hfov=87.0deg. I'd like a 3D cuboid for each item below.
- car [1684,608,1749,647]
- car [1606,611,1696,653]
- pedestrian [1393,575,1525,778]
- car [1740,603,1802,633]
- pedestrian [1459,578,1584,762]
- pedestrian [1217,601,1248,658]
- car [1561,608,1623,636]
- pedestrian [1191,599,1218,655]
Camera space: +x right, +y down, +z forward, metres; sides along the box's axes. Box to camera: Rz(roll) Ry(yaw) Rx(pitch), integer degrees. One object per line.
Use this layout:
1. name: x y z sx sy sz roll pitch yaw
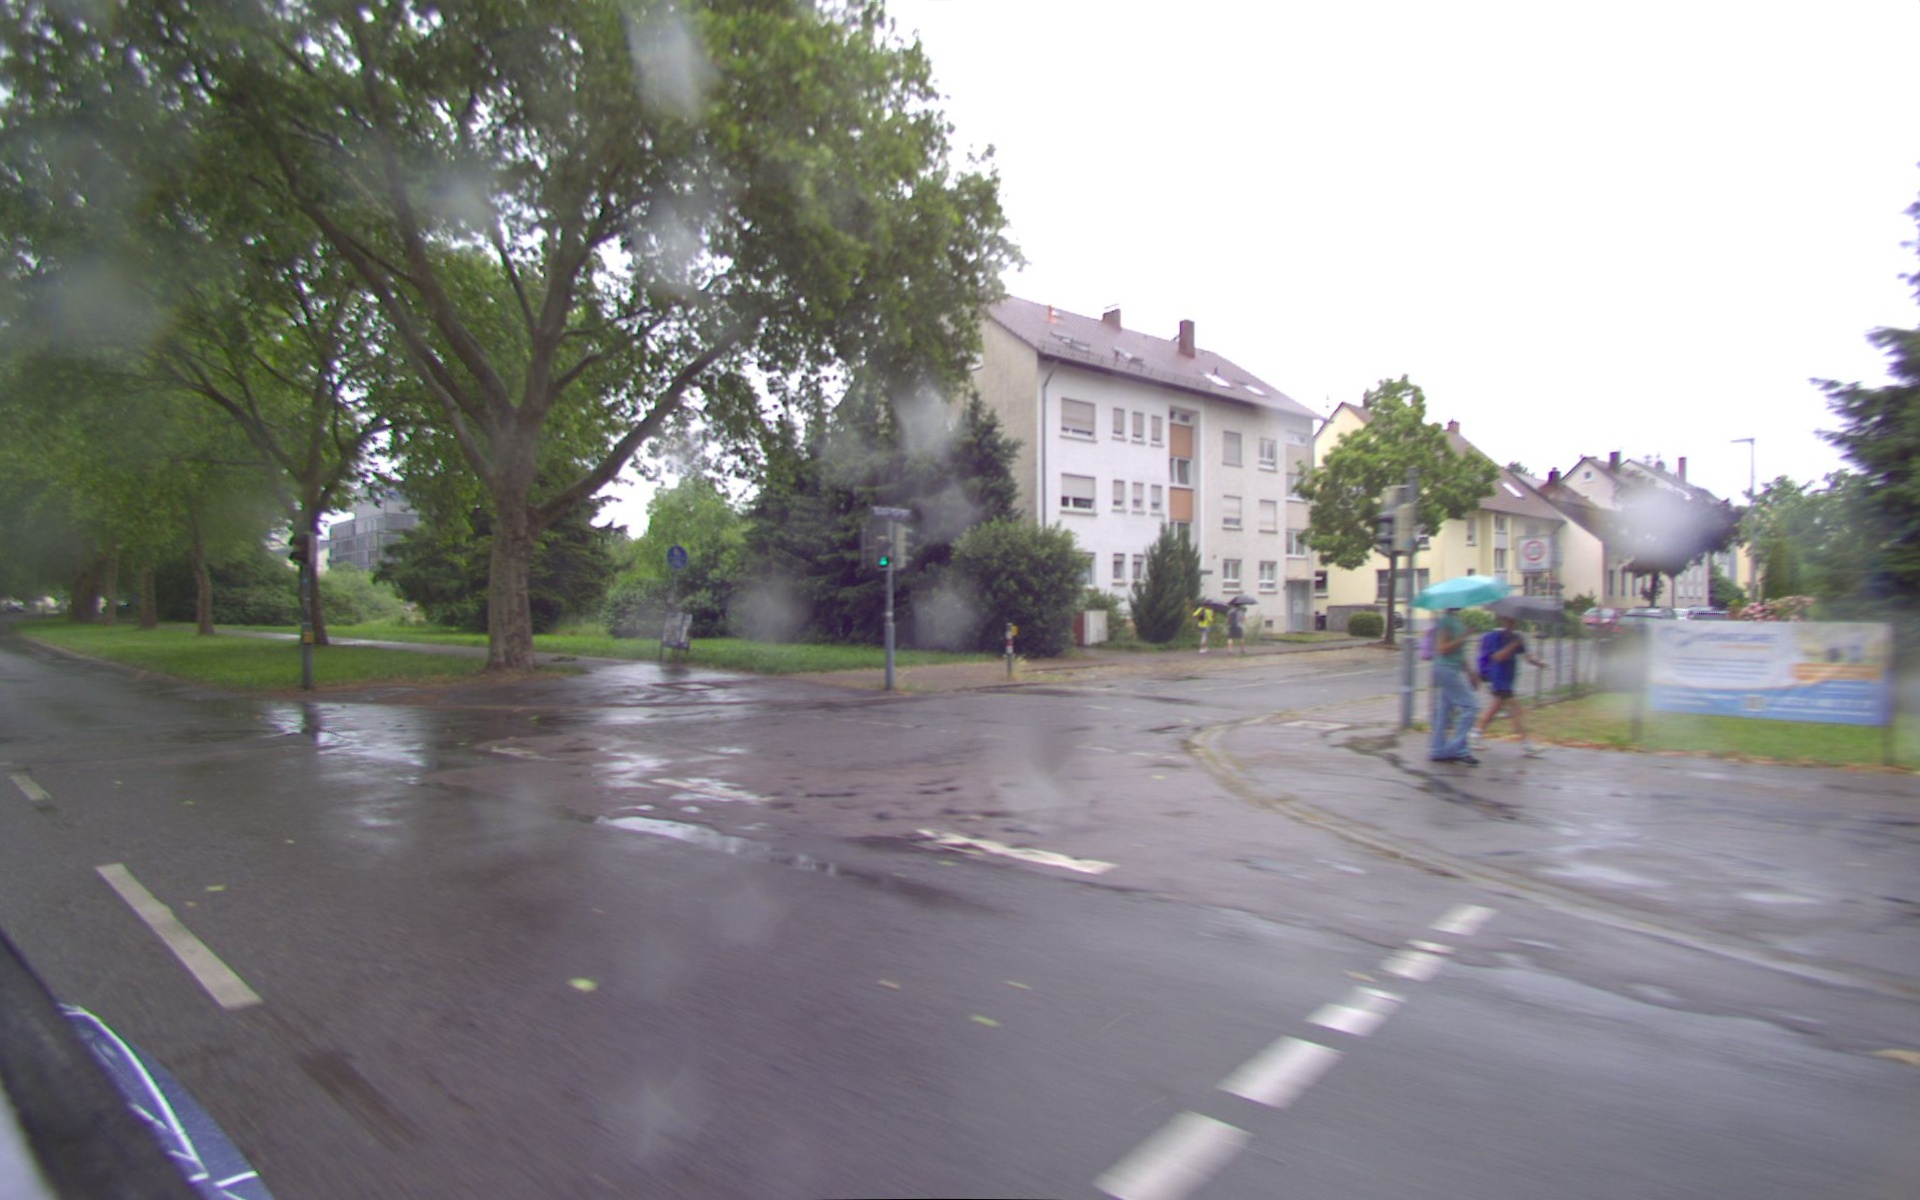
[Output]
1. car: 31.325 1.122 41.901 3.399 1.527 1.537 0 -1 -43
2. car: 24.371 1.094 35.678 3.661 1.383 1.696 0 0 -40
3. pedestrian: 4.722 0.685 9.568 0.838 1.779 1.021 -1 -2 45
4. car: 38.659 0.837 48.218 3.674 1.383 1.603 0 0 -40
5. pedestrian: 5.811 0.691 10.469 0.880 1.779 1.021 -1 -2 45
6. pedestrian: 8.512 0.910 31.609 0.639 1.758 0.849 -1 -1 42
7. car: 32.909 1.111 52.700 3.674 1.383 1.696 0 0 -40
8. pedestrian: 7.843 0.861 32.512 0.639 1.758 0.586 -1 -1 42
